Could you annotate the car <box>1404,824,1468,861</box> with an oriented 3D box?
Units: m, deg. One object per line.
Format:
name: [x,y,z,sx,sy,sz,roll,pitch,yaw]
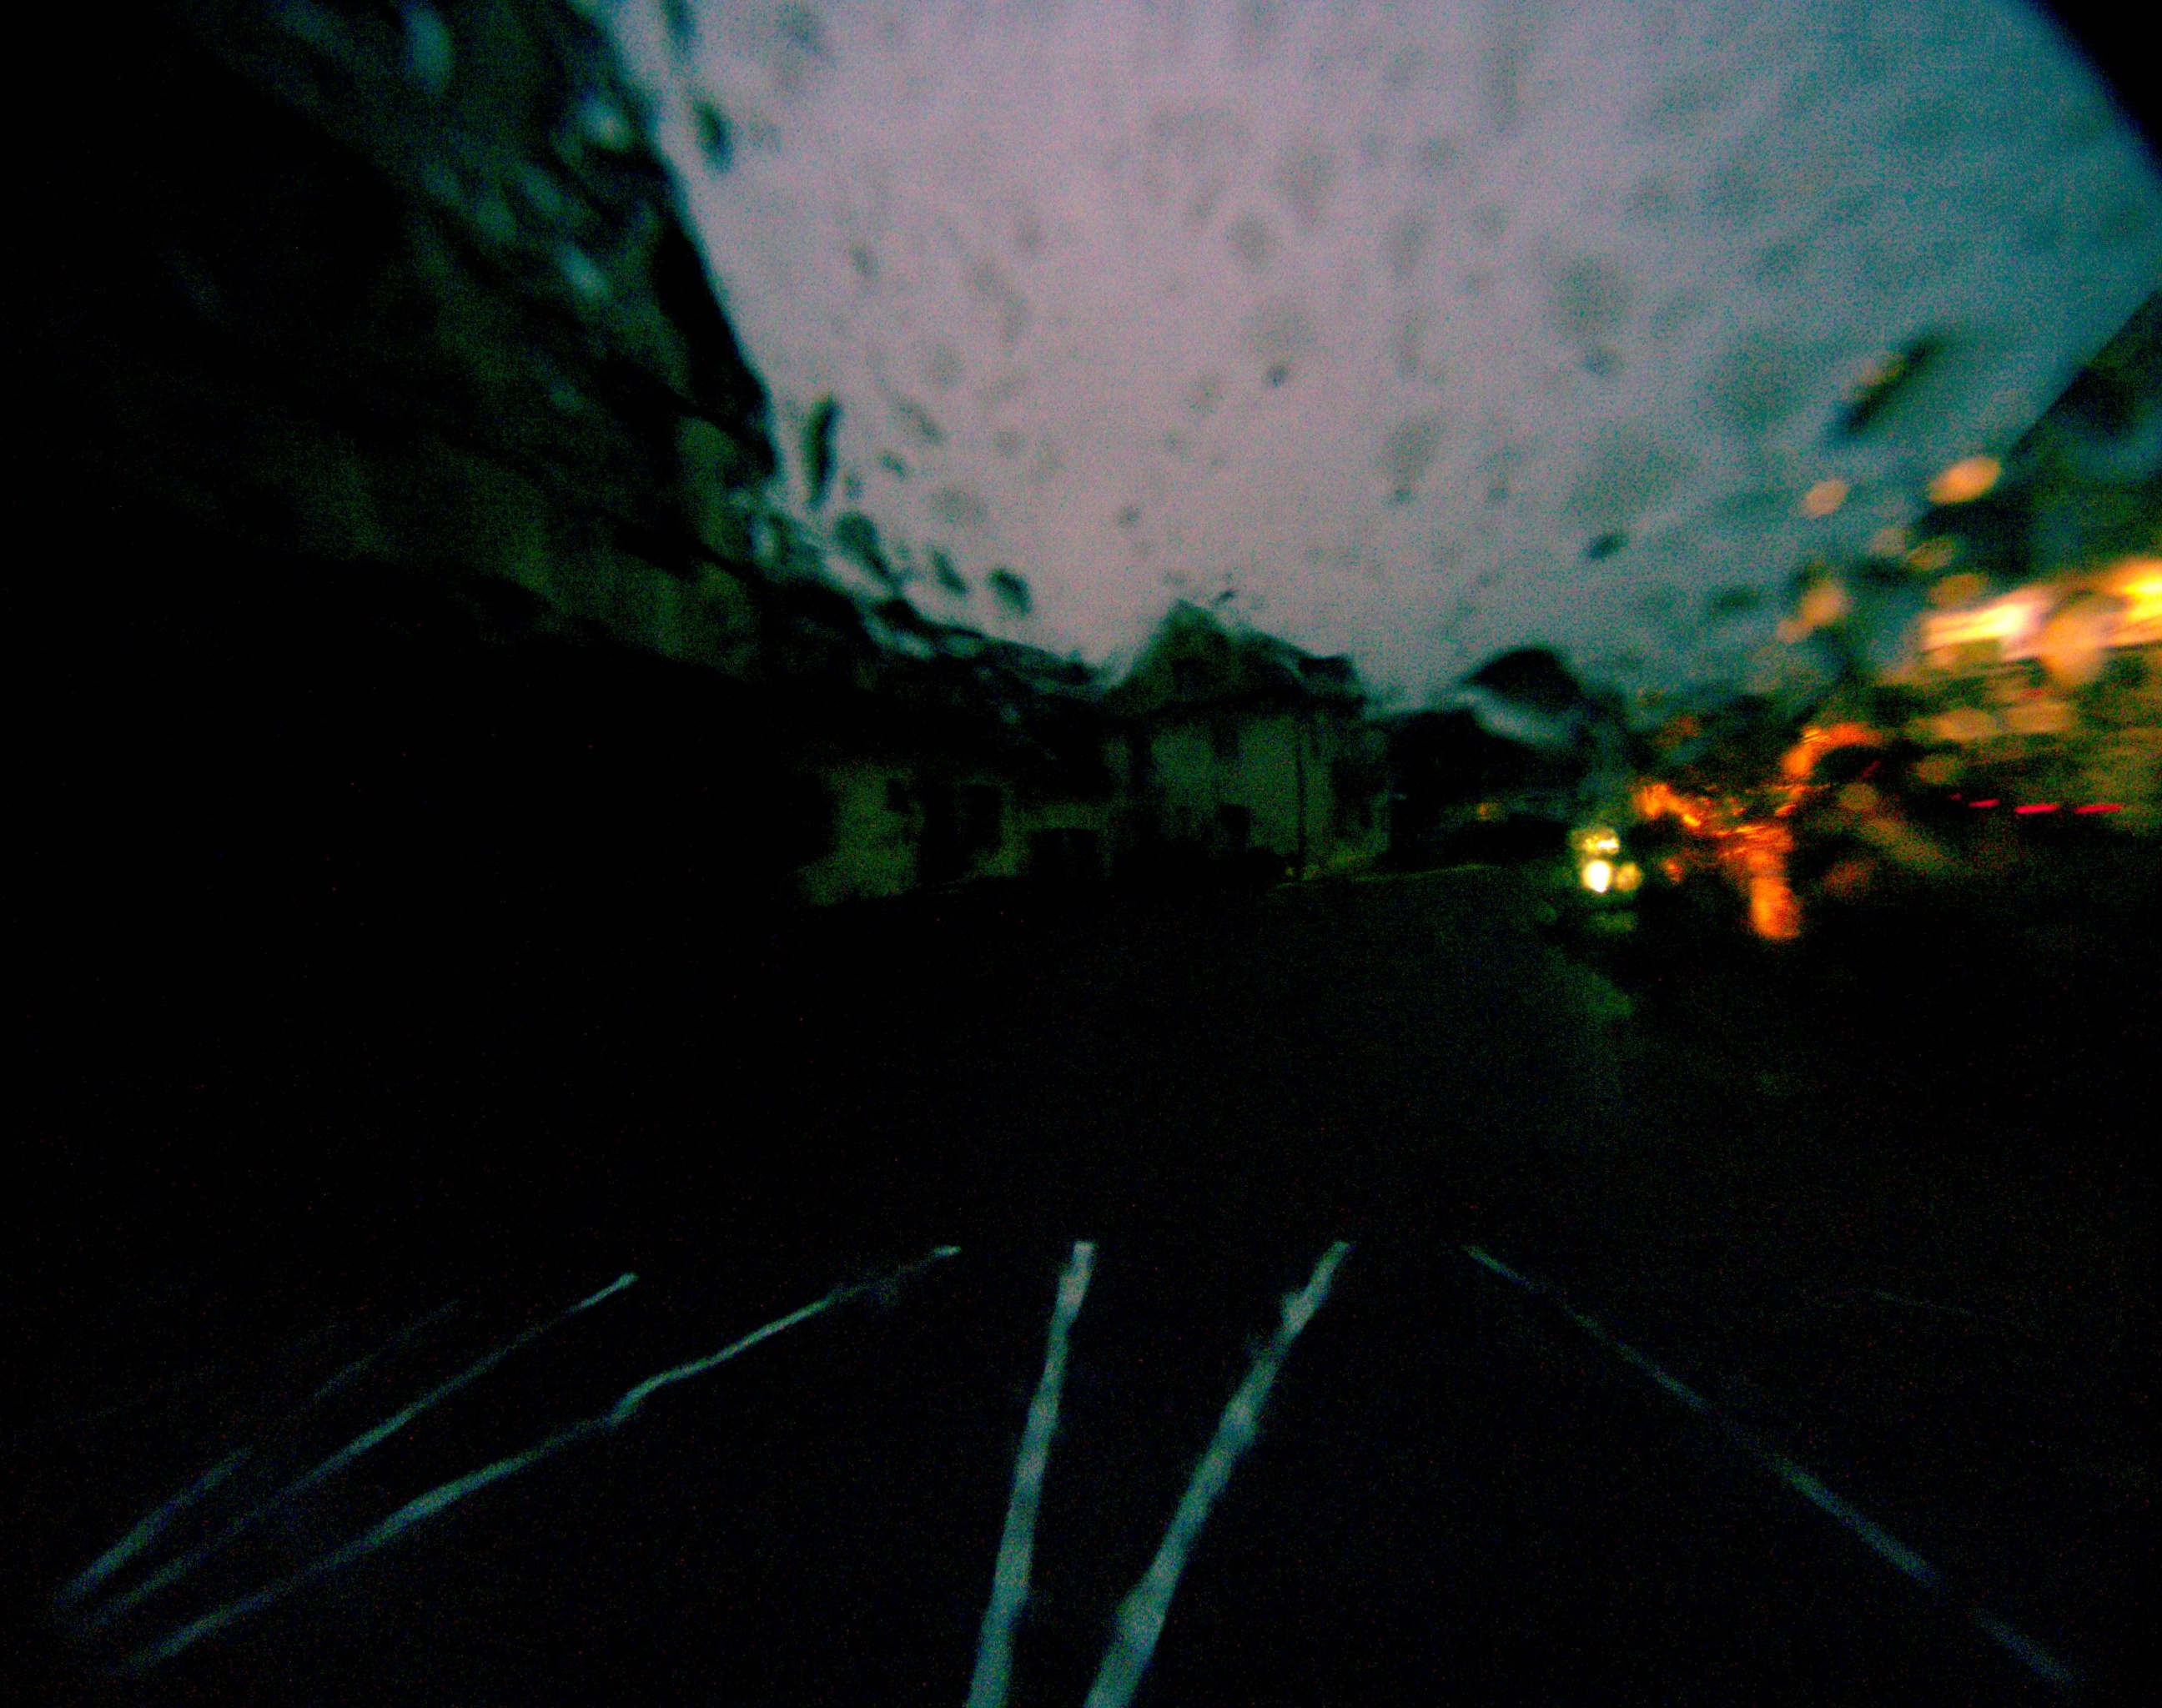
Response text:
car: [17.073,-0.579,36.450,1.807,1.479,4.285,1,5,39]

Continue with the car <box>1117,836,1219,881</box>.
car: [3.198,0.123,28.275,3.480,1.498,1.652,2,4,44]

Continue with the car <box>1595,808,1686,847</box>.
car: [25.859,-1.239,35.081,4.242,1.549,1.988,-4,1,-34]
